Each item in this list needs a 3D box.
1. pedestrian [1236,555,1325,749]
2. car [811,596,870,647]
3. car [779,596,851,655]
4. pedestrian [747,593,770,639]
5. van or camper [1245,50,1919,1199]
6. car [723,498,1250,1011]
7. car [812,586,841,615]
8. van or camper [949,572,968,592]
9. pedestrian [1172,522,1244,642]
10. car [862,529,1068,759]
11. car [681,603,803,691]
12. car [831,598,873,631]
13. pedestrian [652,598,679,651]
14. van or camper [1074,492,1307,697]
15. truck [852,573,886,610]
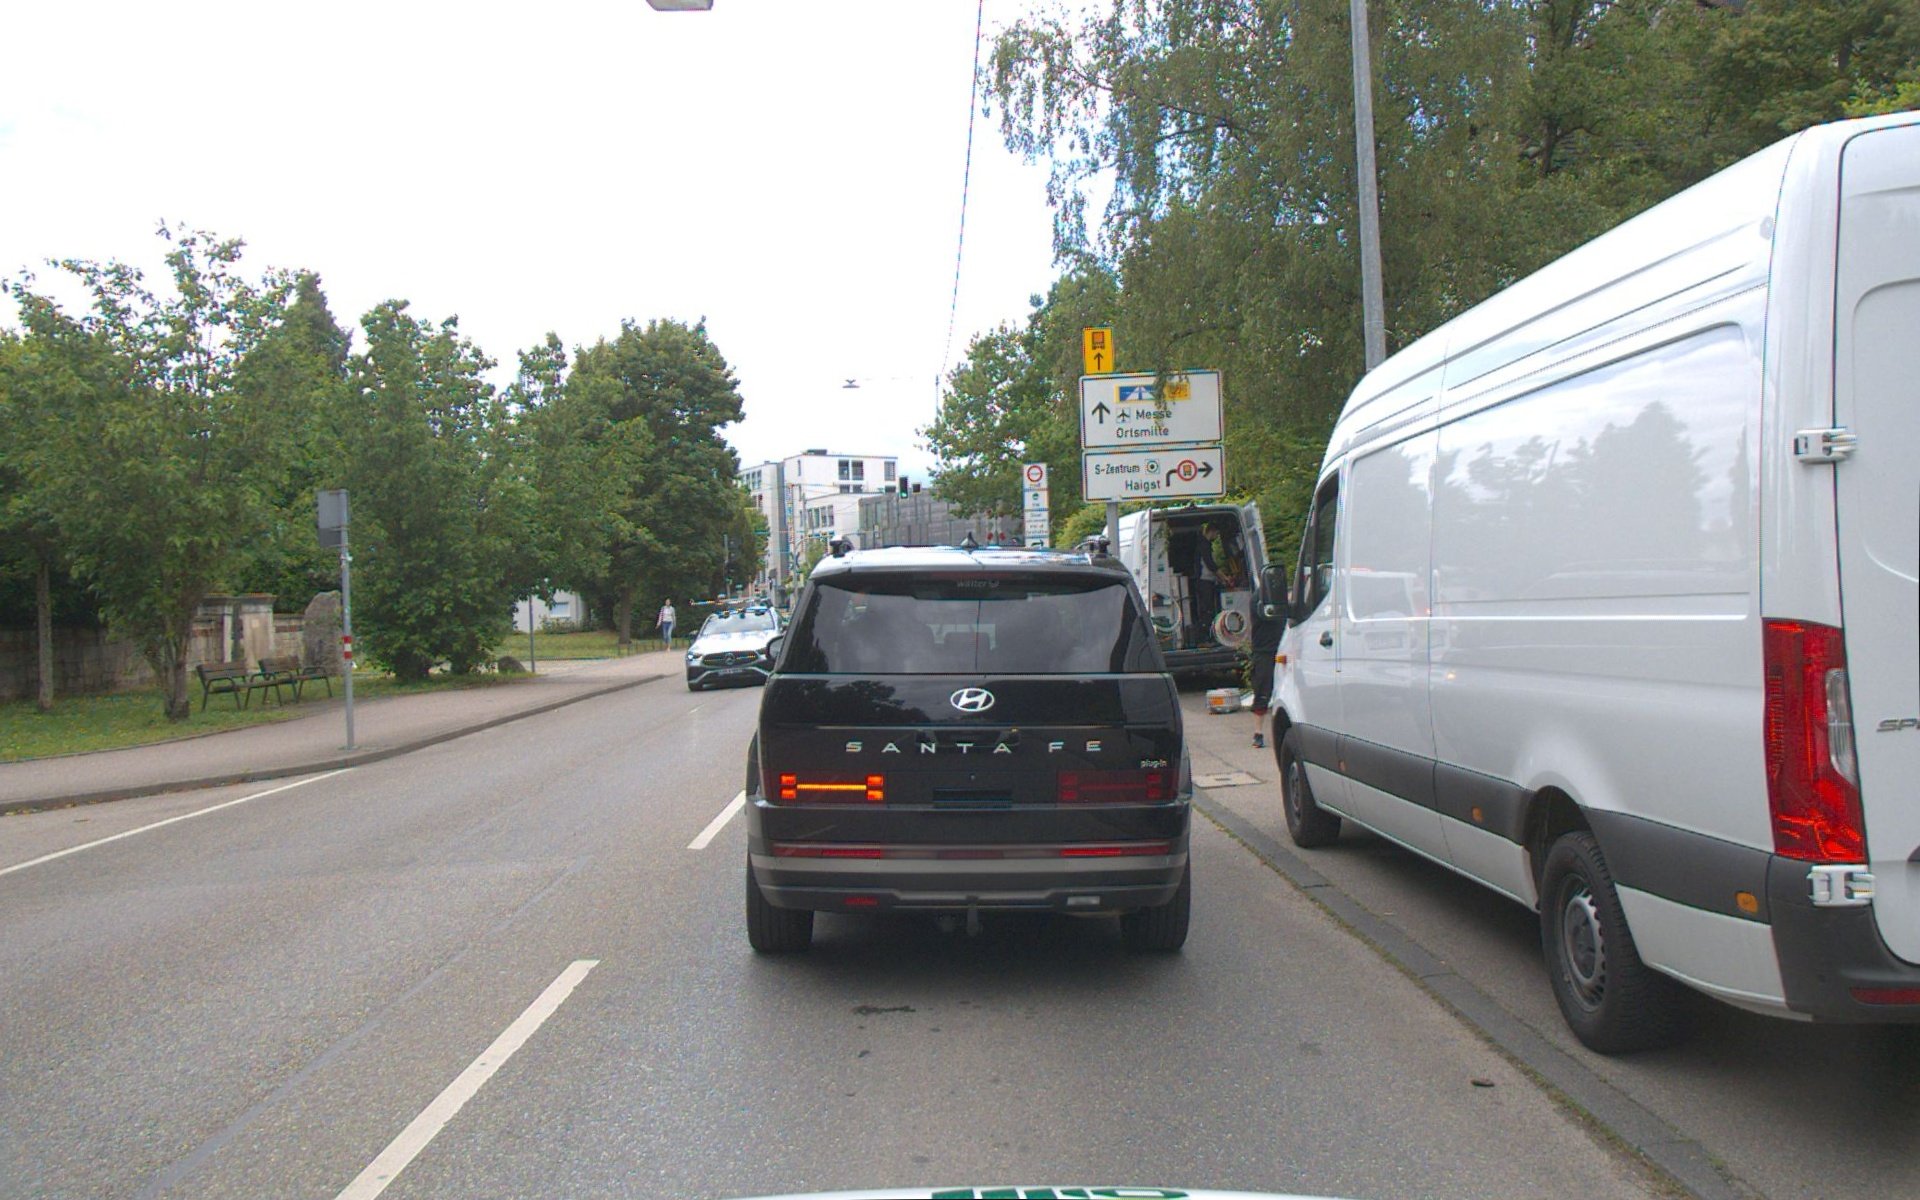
[{"bbox_3d":[2.992,0.471,15.455,0.772,1.751,0.753,1,-1,11],"label":"pedestrian"},{"bbox_3d":[-4.303,0.768,60.198,1.842,1.673,4.126,-4,0,-1],"label":"car"},{"bbox_3d":[-4.100,0.707,47.212,1.667,1.509,3.999,-4,0,-1],"label":"car"},{"bbox_3d":[-9.030,0.717,74.094,0.812,2.049,1.047,1,-1,1],"label":"pedestrian"},{"bbox_3d":[2.885,0.052,7.000,1.951,2.670,6.543,-5,0,-1],"label":"van or camper"},{"bbox_3d":[0.072,0.565,7.919,1.858,1.807,3.993,1,0,-1],"label":"car"},{"bbox_3d":[-11.660,0.034,144.013,2.288,2.356,4.950,-2,0,-7],"label":"car"},{"bbox_3d":[-0.160,-1.848,172.490,1.760,2.033,3.820,1,0,-4],"label":"van or camper"},{"bbox_3d":[3.594,-0.251,23.979,0.783,1.672,0.738,-3,-1,25],"label":"pedestrian"},{"bbox_3d":[0.019,0.413,17.190,1.858,2.077,3.993,1,0,-1],"label":"car"},{"bbox_3d":[-4.056,0.835,31.400,1.721,1.427,4.413,-4,0,-1],"label":"car"},{"bbox_3d":[-5.372,0.726,82.988,1.778,1.443,4.827,-5,0,-1],"label":"car"},{"bbox_3d":[-9.890,0.820,55.600,0.751,1.779,0.904,0,0,-3],"label":"pedestrian"},{"bbox_3d":[3.294,-0.024,25.302,2.294,2.537,6.600,-5,-1,-2],"label":"van or camper"},{"bbox_3d":[-10.210,-0.950,184.453,3.048,3.926,9.607,-2,0,-7],"label":"truck"}]
